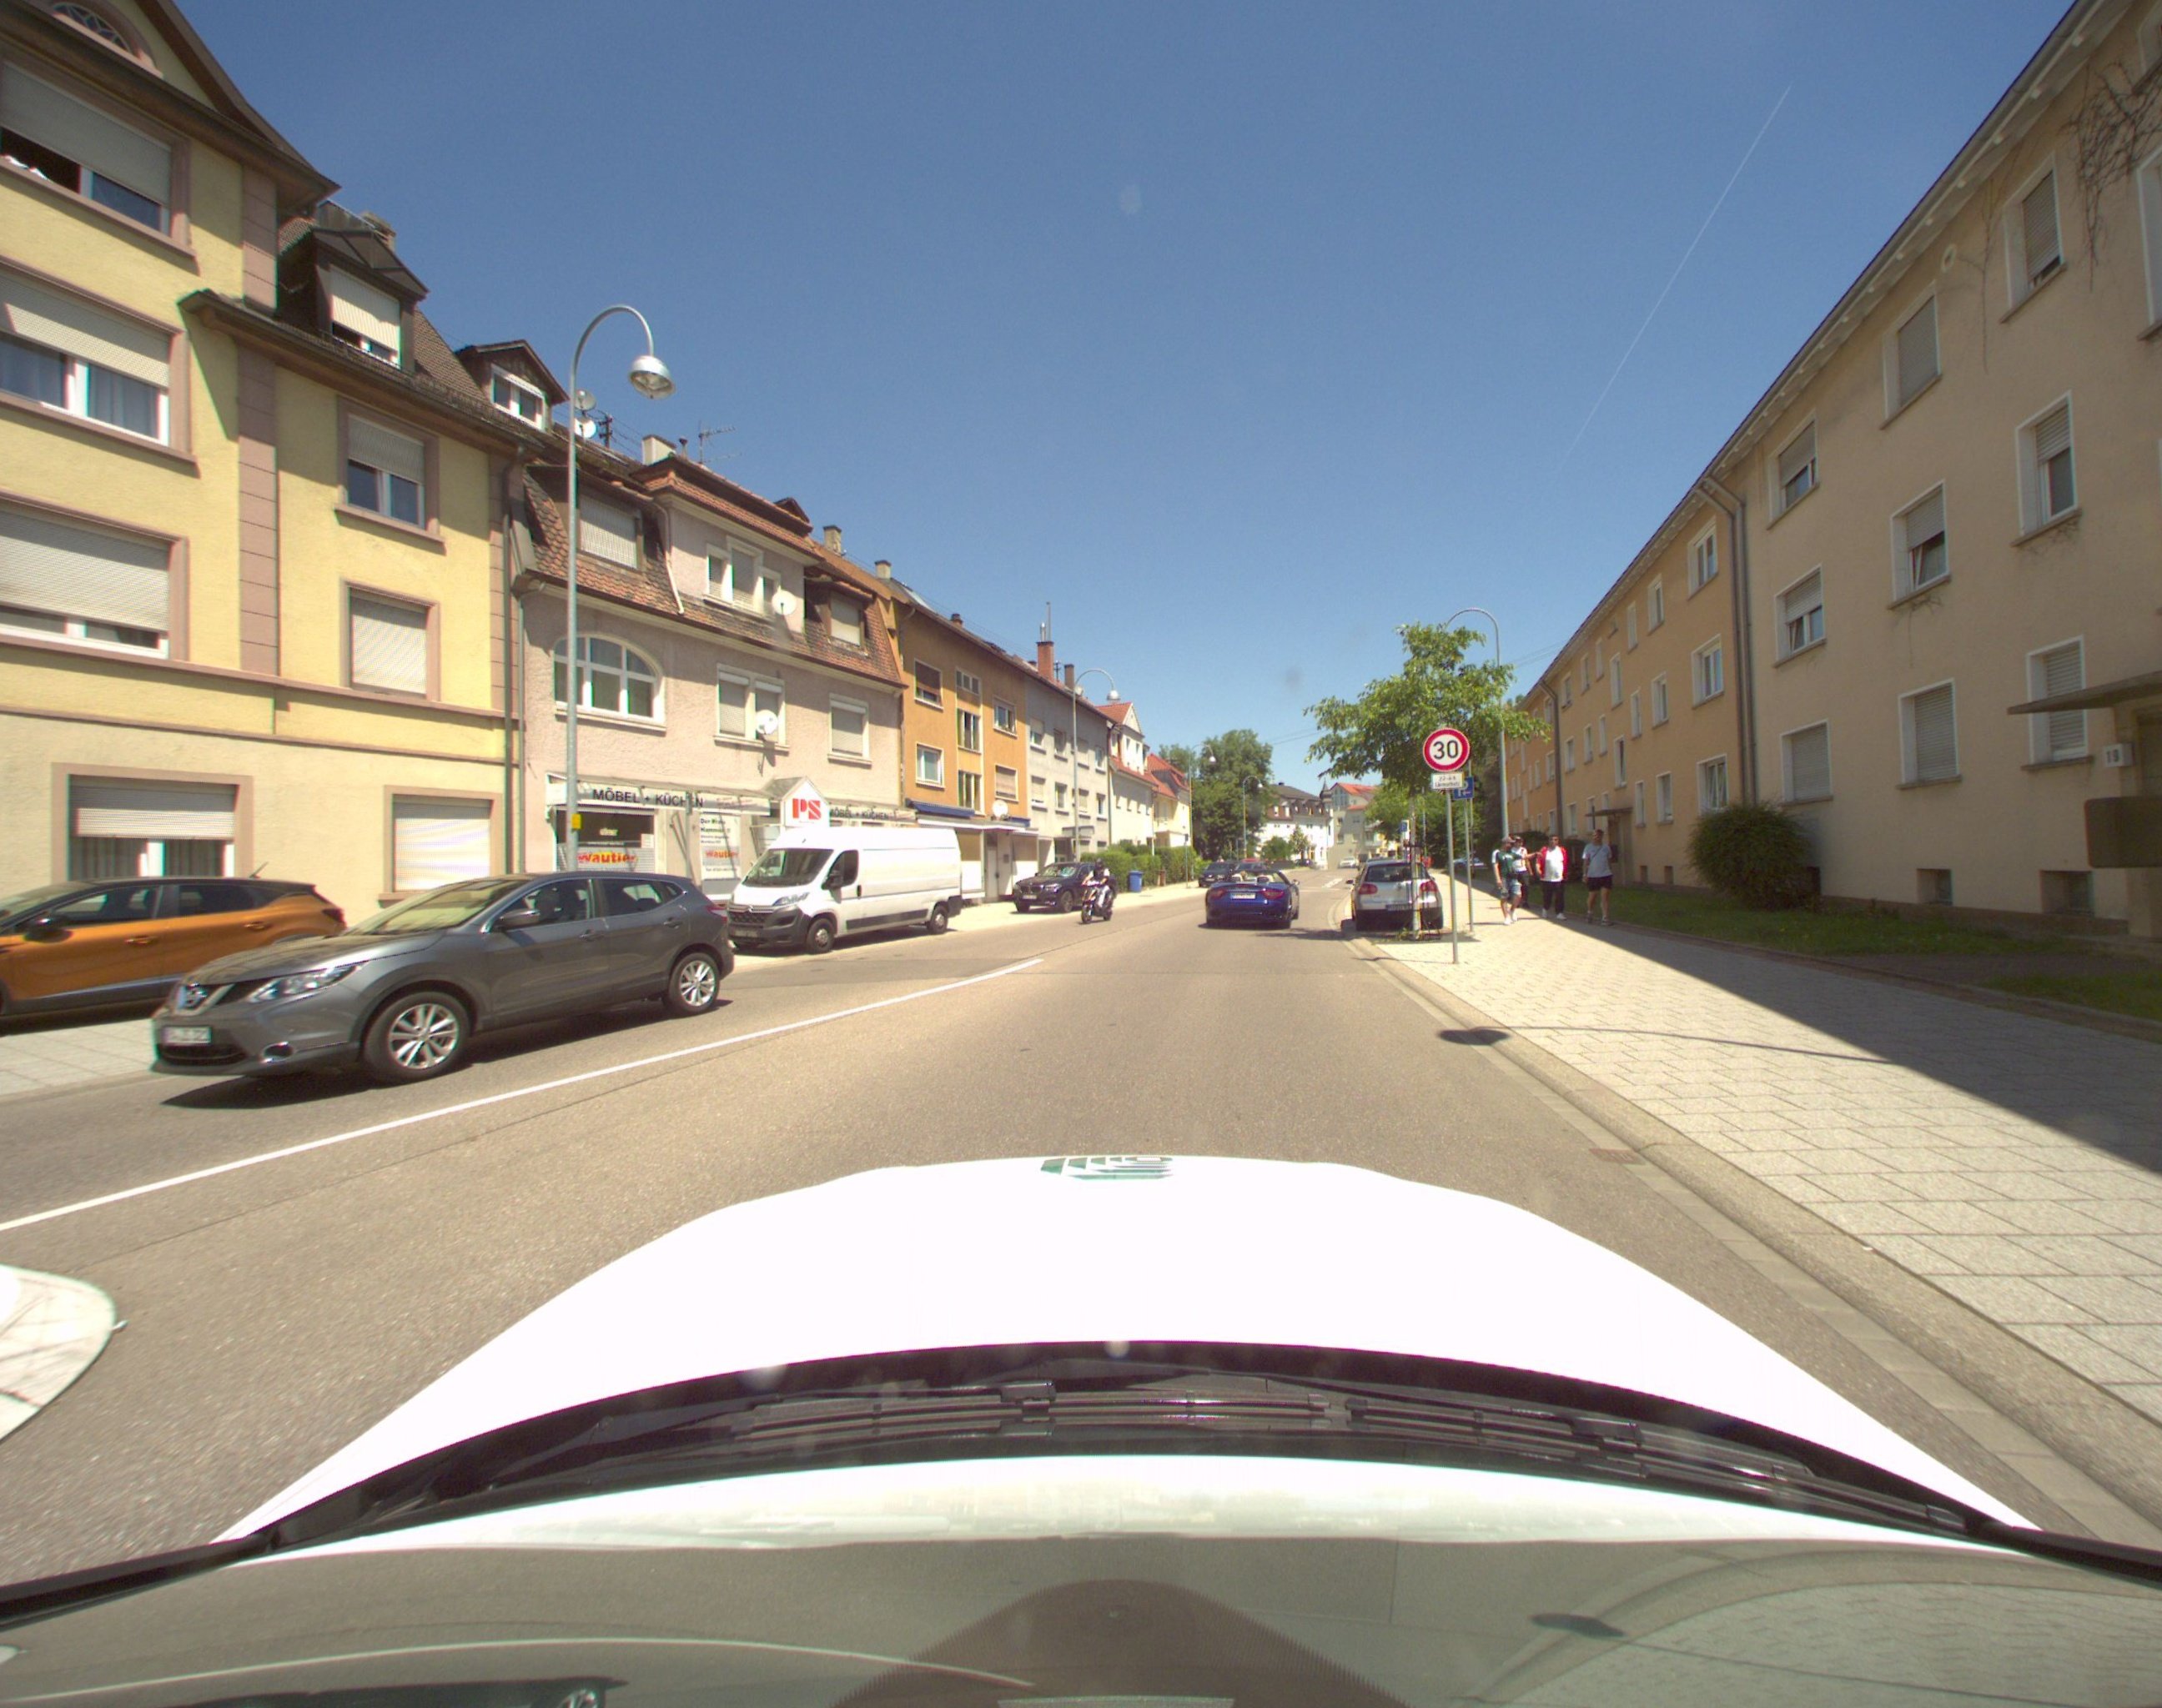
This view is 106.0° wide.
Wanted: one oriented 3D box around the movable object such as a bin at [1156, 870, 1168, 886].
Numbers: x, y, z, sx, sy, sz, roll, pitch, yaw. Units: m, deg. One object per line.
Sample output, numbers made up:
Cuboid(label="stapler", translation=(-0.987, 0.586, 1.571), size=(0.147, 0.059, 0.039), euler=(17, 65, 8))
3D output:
Cuboid(label="movable object such as a bin", translation=(4.698, 1.384, 47.071), size=(0.490, 0.912, 0.709), euler=(-2, -1, 20))

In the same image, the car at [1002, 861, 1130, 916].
Cuboid(label="car", translation=(-0.381, 1.098, 27.968), size=(2.065, 1.614, 5.140), euler=(-1, 0, 30))

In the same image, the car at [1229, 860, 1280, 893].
Cuboid(label="car", translation=(8.545, 1.069, 39.886), size=(1.716, 1.412, 4.021), euler=(-4, -1, 21))

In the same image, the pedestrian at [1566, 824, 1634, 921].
Cuboid(label="pedestrian", translation=(9.945, 0.349, 15.644), size=(0.787, 1.778, 1.013), euler=(-2, -1, 17))

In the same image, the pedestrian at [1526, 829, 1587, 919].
Cuboid(label="pedestrian", translation=(10.103, 0.421, 17.342), size=(0.781, 1.811, 1.010), euler=(-4, -2, 17))

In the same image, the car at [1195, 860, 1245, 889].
Cuboid(label="car", translation=(8.043, 1.148, 46.788), size=(1.771, 1.459, 4.221), euler=(1, 1, 24))

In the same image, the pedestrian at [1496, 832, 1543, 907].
Cuboid(label="pedestrian", translation=(11.242, 0.404, 20.900), size=(0.814, 1.854, 0.988), euler=(-2, -2, 17))

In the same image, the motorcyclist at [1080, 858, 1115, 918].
Cuboid(label="motorcyclist", translation=(0.451, 0.893, 21.632), size=(0.596, 1.525, 0.900), euler=(-3, -2, 22))

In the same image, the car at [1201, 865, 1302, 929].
Cuboid(label="car", translation=(4.261, 0.977, 19.801), size=(1.855, 1.342, 4.617), euler=(-1, -2, 18))

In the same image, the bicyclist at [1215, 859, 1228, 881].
Cuboid(label="bicyclist", translation=(10.431, 1.178, 60.593), size=(0.776, 1.659, 0.839), euler=(-2, -1, 19))

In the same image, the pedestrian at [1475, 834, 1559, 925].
Cuboid(label="pedestrian", translation=(8.909, 0.520, 16.706), size=(1.162, 1.733, 1.196), euler=(-5, -3, 16))

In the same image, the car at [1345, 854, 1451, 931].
Cuboid(label="car", translation=(7.020, 0.822, 18.445), size=(1.799, 1.477, 4.526), euler=(-3, -2, 16))

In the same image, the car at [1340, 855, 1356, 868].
Cuboid(label="car", translation=(34.544, 0.958, 105.304), size=(1.862, 1.597, 4.380), euler=(-3, -1, 19))

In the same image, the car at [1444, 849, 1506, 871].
Cuboid(label="car", translation=(32.497, 0.514, 67.240), size=(4.308, 1.839, 1.756), euler=(0, -1, 12))

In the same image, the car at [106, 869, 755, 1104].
Cuboid(label="car", translation=(-5.331, 0.941, 7.564), size=(1.781, 1.489, 4.411), euler=(-4, -2, 19))

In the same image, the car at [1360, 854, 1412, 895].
Cuboid(label="car", translation=(12.711, 0.804, 34.006), size=(1.818, 1.504, 5.089), euler=(-4, -1, 20))

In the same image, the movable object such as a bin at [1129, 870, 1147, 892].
Cuboid(label="movable object such as a bin", translation=(2.827, 1.311, 40.169), size=(0.667, 1.048, 0.655), euler=(-3, -1, 20))

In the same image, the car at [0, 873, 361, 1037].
Cuboid(label="car", translation=(-11.102, 1.035, 9.146), size=(1.778, 1.541, 4.139), euler=(-1, 0, 25))

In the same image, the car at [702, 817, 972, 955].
Cuboid(label="car", translation=(-4.909, 0.580, 17.708), size=(2.100, 2.449, 6.151), euler=(0, 0, 24))

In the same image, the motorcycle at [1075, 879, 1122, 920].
Cuboid(label="motorcycle", translation=(0.488, 1.183, 21.691), size=(0.601, 1.000, 1.809), euler=(-2, -1, 23))
